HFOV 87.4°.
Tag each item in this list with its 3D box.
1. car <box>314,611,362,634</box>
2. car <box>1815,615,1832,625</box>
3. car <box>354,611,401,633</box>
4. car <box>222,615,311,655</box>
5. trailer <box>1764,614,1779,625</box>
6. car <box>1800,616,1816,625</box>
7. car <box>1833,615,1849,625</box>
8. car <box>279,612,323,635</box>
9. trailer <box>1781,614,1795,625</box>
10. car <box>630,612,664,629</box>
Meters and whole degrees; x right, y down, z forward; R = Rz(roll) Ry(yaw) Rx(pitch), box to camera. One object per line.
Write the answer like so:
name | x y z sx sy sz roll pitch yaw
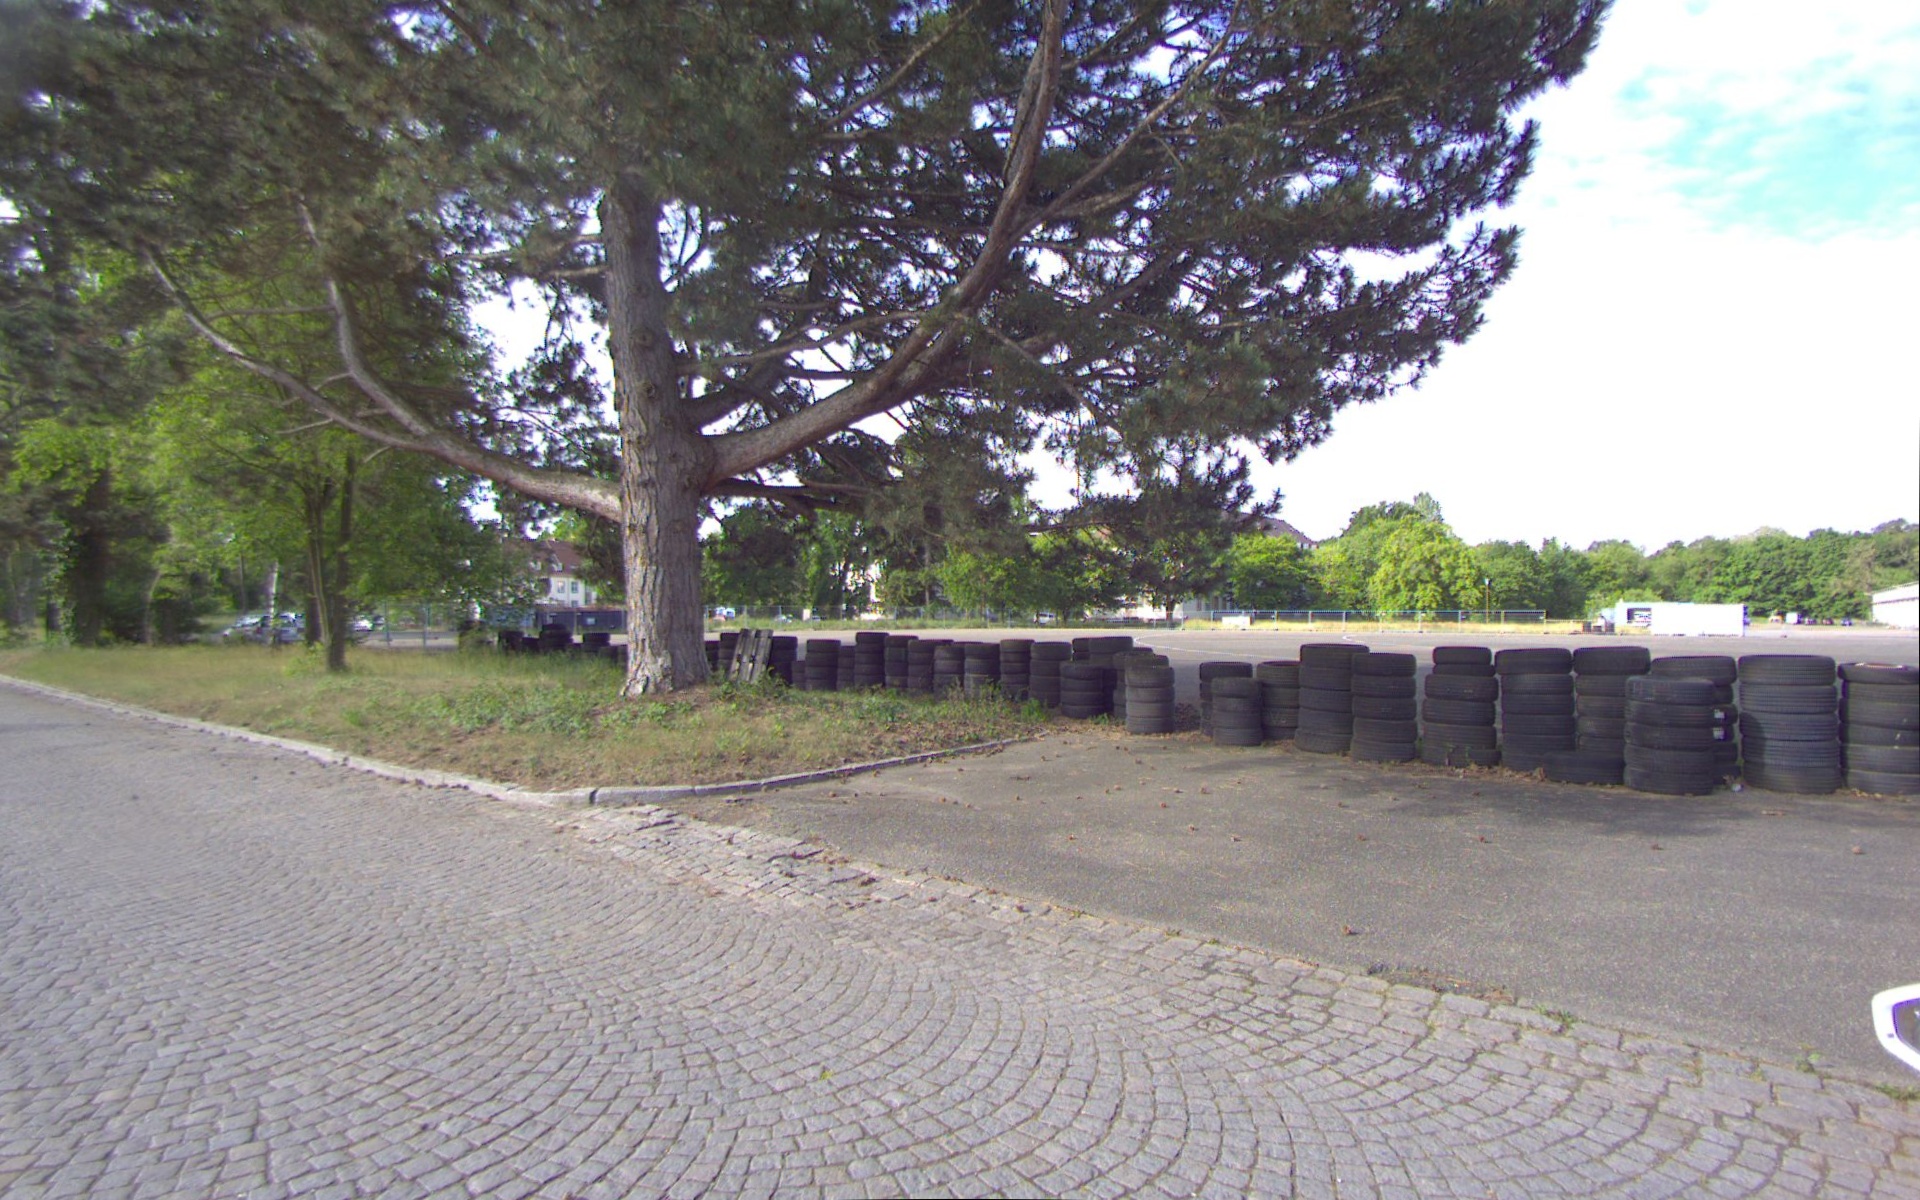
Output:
car | -47.328 1.702 76.373 3.940 1.639 1.991 -1 -1 40
car | 162.288 3.833 188.853 2.005 1.832 3.986 -1 -1 36
car | -45.714 1.699 78.843 3.940 1.639 1.991 -1 -1 40
car | -28.094 1.384 40.673 3.937 1.561 1.885 -1 -1 38
trailer | 158.176 3.796 195.789 1.968 2.040 3.985 0 -1 37
car | 160.434 3.885 190.122 1.967 1.773 3.986 0 -1 36
car | 164.235 3.708 187.272 1.967 1.773 3.986 0 -1 36
car | -48.704 1.692 74.227 3.942 1.639 1.817 -1 -1 42
trailer | 159.244 3.801 193.200 2.032 2.040 3.984 0 -1 37
car | -34.281 2.221 110.015 3.946 1.773 1.987 -1 -1 45
